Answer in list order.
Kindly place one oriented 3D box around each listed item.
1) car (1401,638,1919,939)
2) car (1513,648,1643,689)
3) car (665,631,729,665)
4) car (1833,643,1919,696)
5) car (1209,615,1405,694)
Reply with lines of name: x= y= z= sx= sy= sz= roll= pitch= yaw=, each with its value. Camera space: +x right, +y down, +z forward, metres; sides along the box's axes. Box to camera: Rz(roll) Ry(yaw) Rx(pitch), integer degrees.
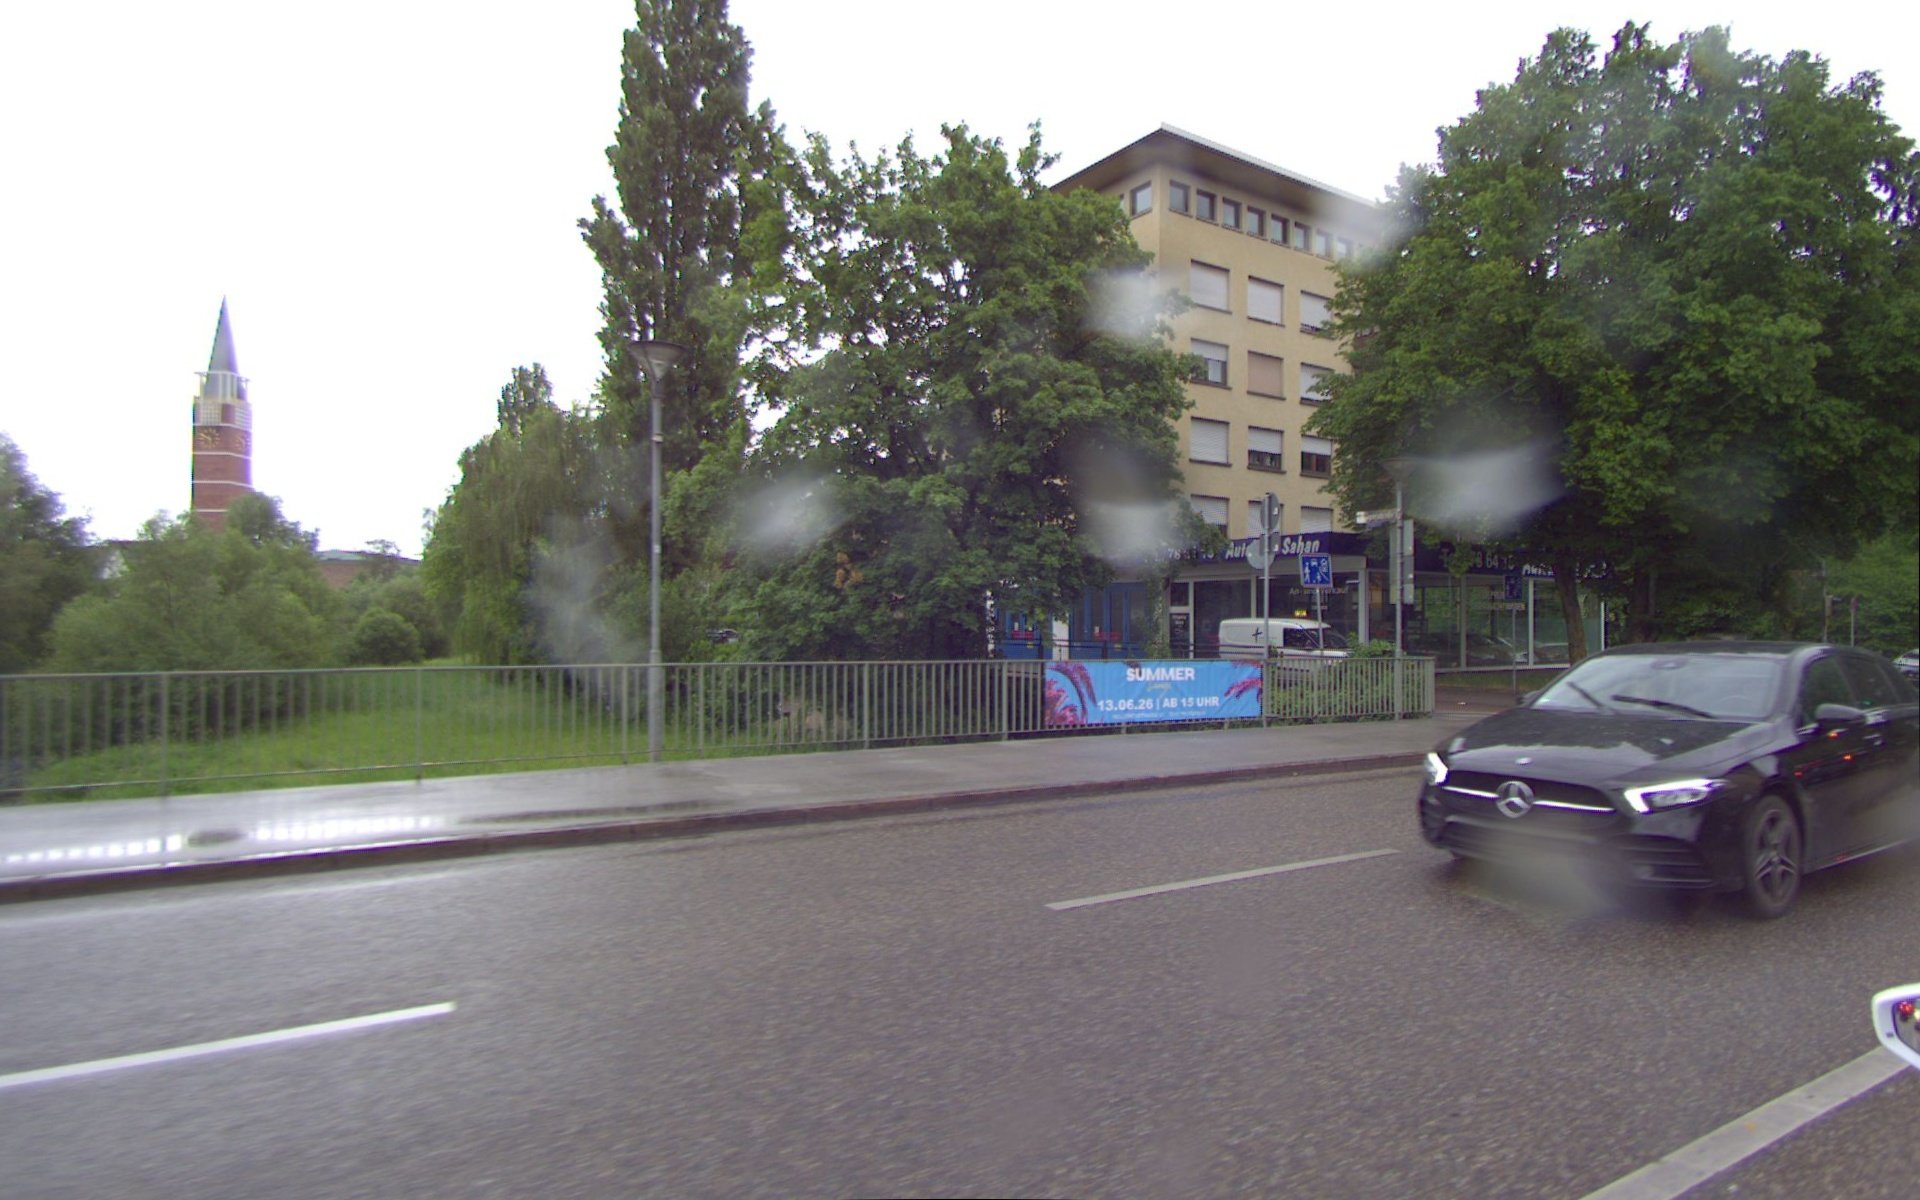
car: x=4.940 y=0.973 z=6.603 sx=4.046 sy=1.434 sz=1.701 roll=1 pitch=-3 yaw=-31
car: x=24.864 y=2.713 z=40.577 sx=1.793 sy=1.469 sz=4.180 roll=1 pitch=-2 yaw=-26
car: x=-13.166 y=2.364 z=50.165 sx=1.726 sy=1.602 sz=3.844 roll=1 pitch=-2 yaw=-38
car: x=27.452 y=1.967 z=28.542 sx=1.699 sy=1.478 sz=4.431 roll=0 pitch=-2 yaw=5
car: x=9.301 y=1.383 z=27.269 sx=1.982 sy=1.879 sz=4.705 roll=-1 pitch=0 yaw=-38
